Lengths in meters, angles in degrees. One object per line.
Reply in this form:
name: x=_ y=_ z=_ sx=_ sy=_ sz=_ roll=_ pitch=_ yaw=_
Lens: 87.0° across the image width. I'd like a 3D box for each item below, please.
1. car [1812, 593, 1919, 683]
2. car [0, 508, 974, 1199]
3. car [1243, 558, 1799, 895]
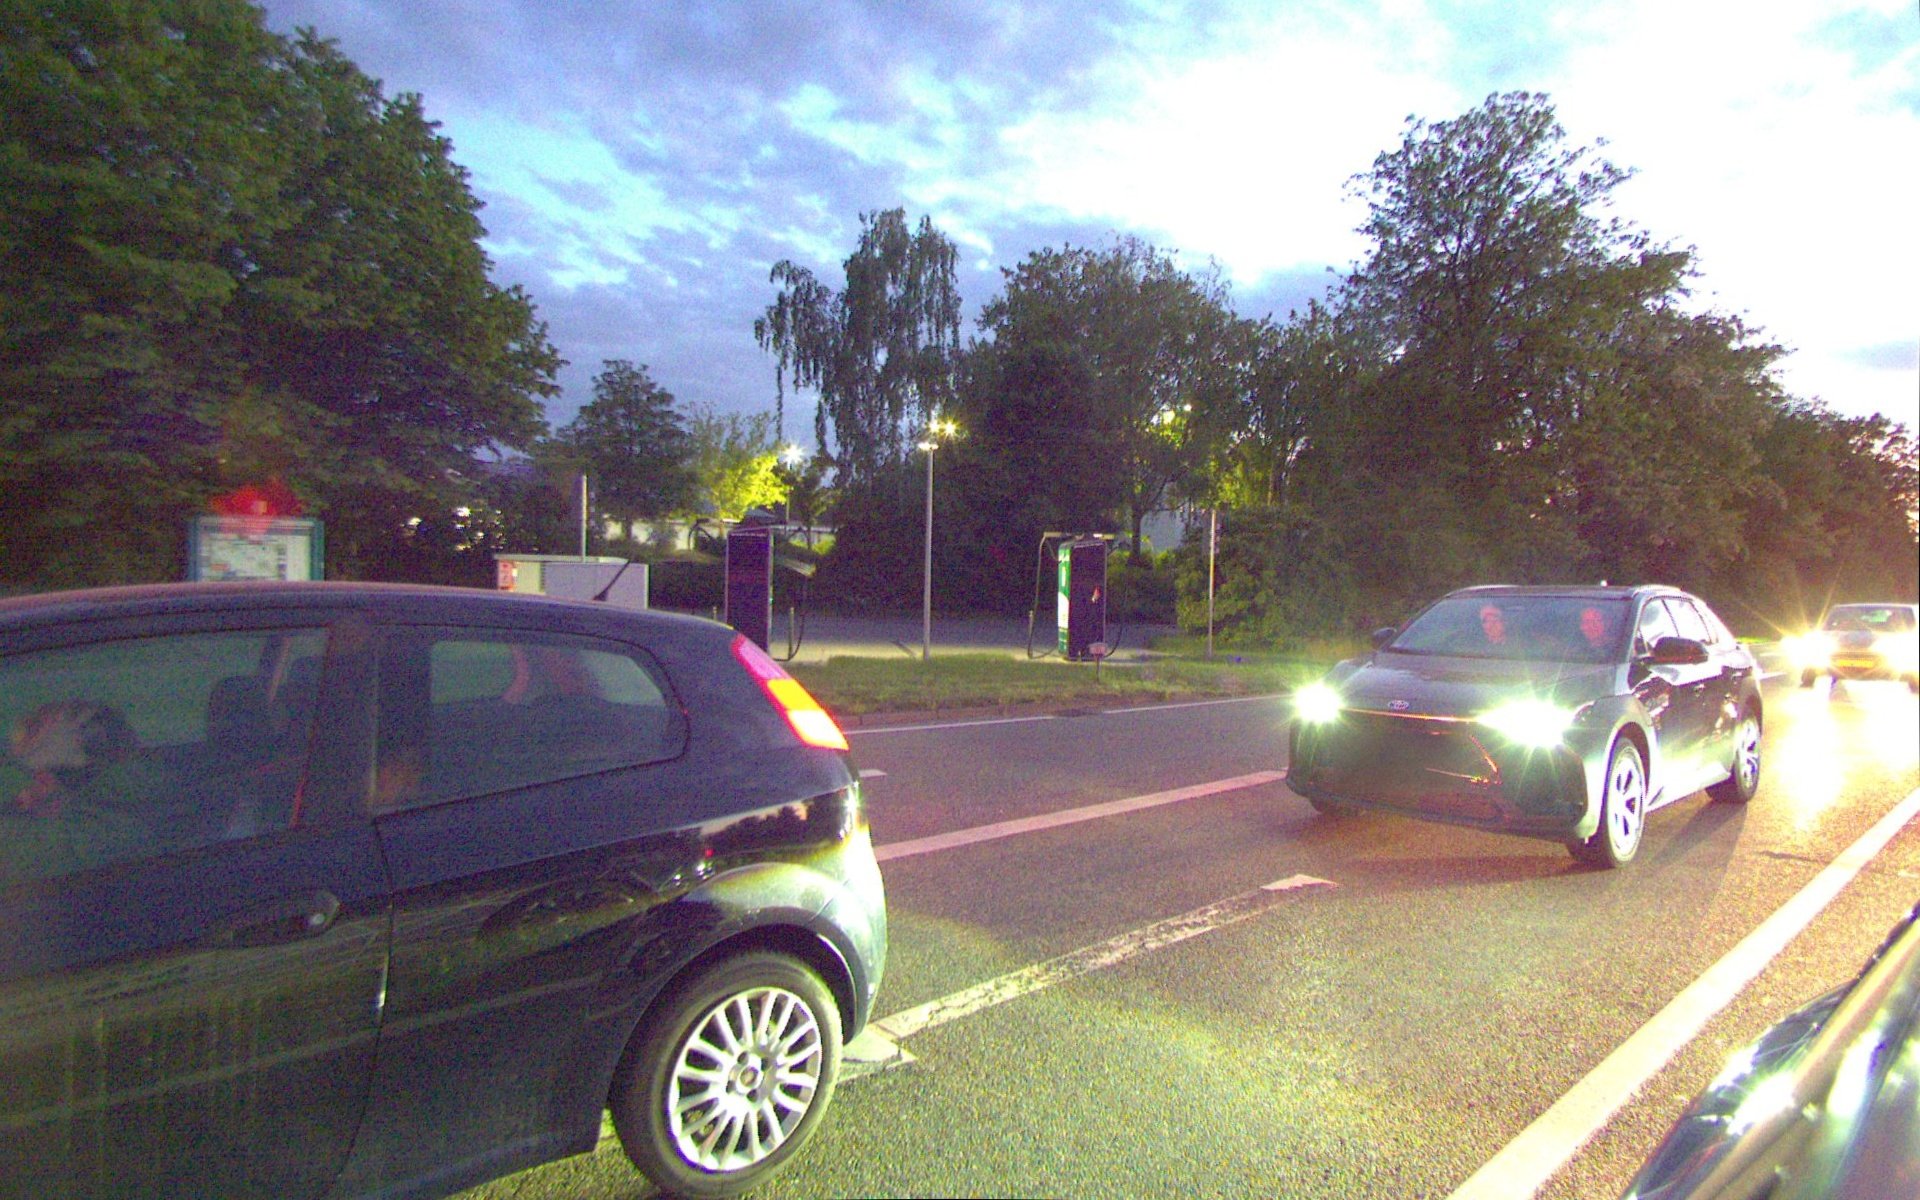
car: x=16.846 y=0.623 z=18.303 sx=3.803 sy=1.487 sz=1.622 roll=0 pitch=0 yaw=-41
car: x=-2.044 y=0.614 z=2.201 sx=4.032 sy=1.540 sz=1.674 roll=0 pitch=1 yaw=-39
car: x=4.189 y=0.600 z=7.181 sx=4.629 sy=1.630 sz=1.997 roll=0 pitch=0 yaw=-41
